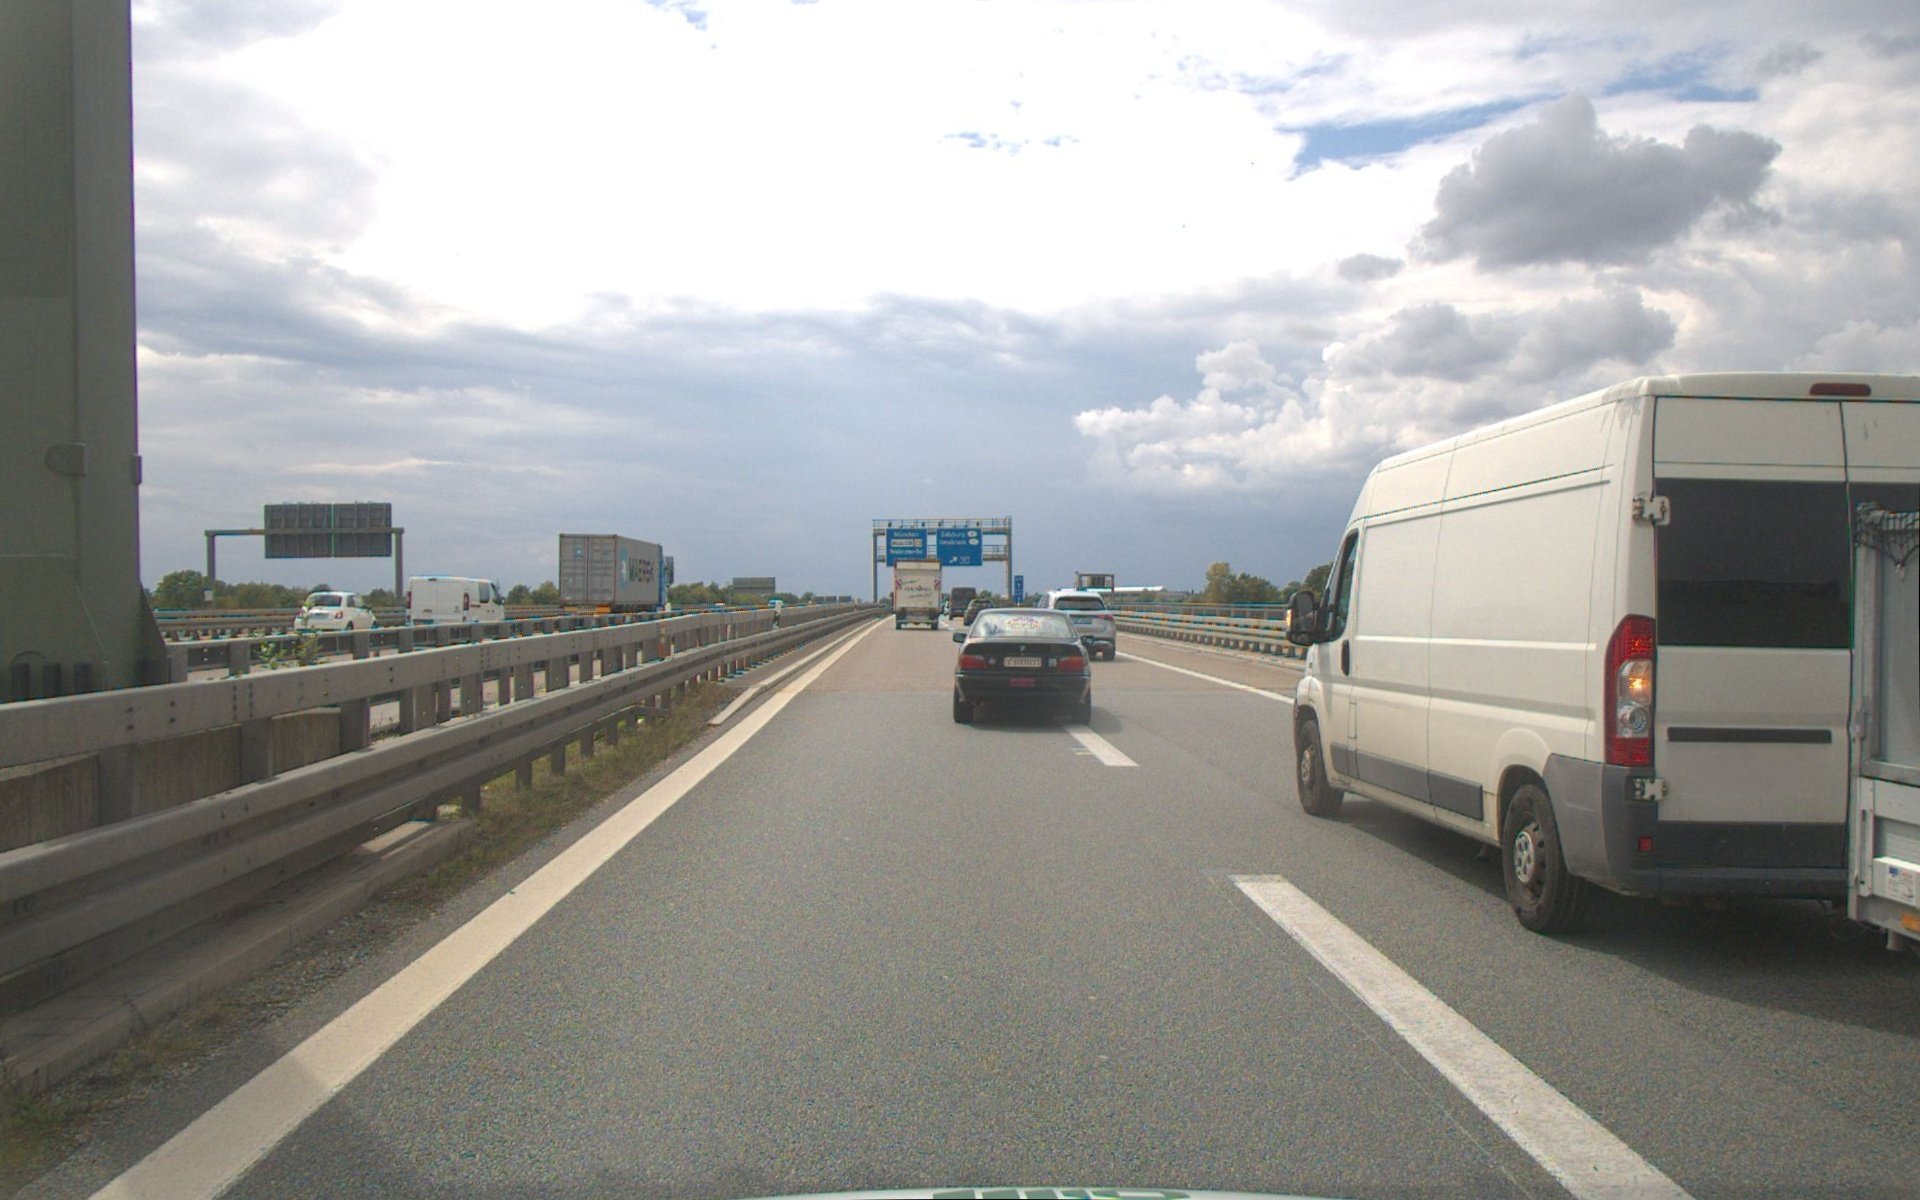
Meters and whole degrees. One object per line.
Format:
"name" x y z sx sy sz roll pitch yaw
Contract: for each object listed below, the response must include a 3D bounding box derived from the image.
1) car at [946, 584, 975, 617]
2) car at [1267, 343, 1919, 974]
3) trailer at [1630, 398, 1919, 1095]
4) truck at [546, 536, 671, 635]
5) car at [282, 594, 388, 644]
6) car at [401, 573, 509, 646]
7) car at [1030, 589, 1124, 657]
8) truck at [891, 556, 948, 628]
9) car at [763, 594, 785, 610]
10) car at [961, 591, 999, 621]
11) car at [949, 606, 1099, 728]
"car" 0.017 0.018 119.262 1.868 2.301 4.647 1 0 -2
"car" 3.543 0.225 9.685 2.071 2.497 6.149 1 0 -3
"trailer" 3.768 0.445 4.421 1.818 2.049 4.628 1 0 -4
"truck" -16.085 -0.642 77.087 3.120 4.089 16.066 1 0 -3
"car" -19.200 0.546 50.973 1.761 1.444 4.000 1 0 0
"car" -14.934 0.246 49.172 1.953 2.049 4.373 1 0 -2
"car" 2.789 0.520 40.332 1.783 1.541 3.997 1 0 -3
"truck" -1.932 -0.268 78.125 2.517 3.181 8.630 1 -1 -2
"car" -18.580 0.181 165.424 1.791 1.590 3.999 0 0 -1
"car" 1.062 0.308 89.310 1.847 1.579 3.998 1 0 -2
"car" 0.843 0.764 20.810 1.668 1.303 4.368 1 0 3
